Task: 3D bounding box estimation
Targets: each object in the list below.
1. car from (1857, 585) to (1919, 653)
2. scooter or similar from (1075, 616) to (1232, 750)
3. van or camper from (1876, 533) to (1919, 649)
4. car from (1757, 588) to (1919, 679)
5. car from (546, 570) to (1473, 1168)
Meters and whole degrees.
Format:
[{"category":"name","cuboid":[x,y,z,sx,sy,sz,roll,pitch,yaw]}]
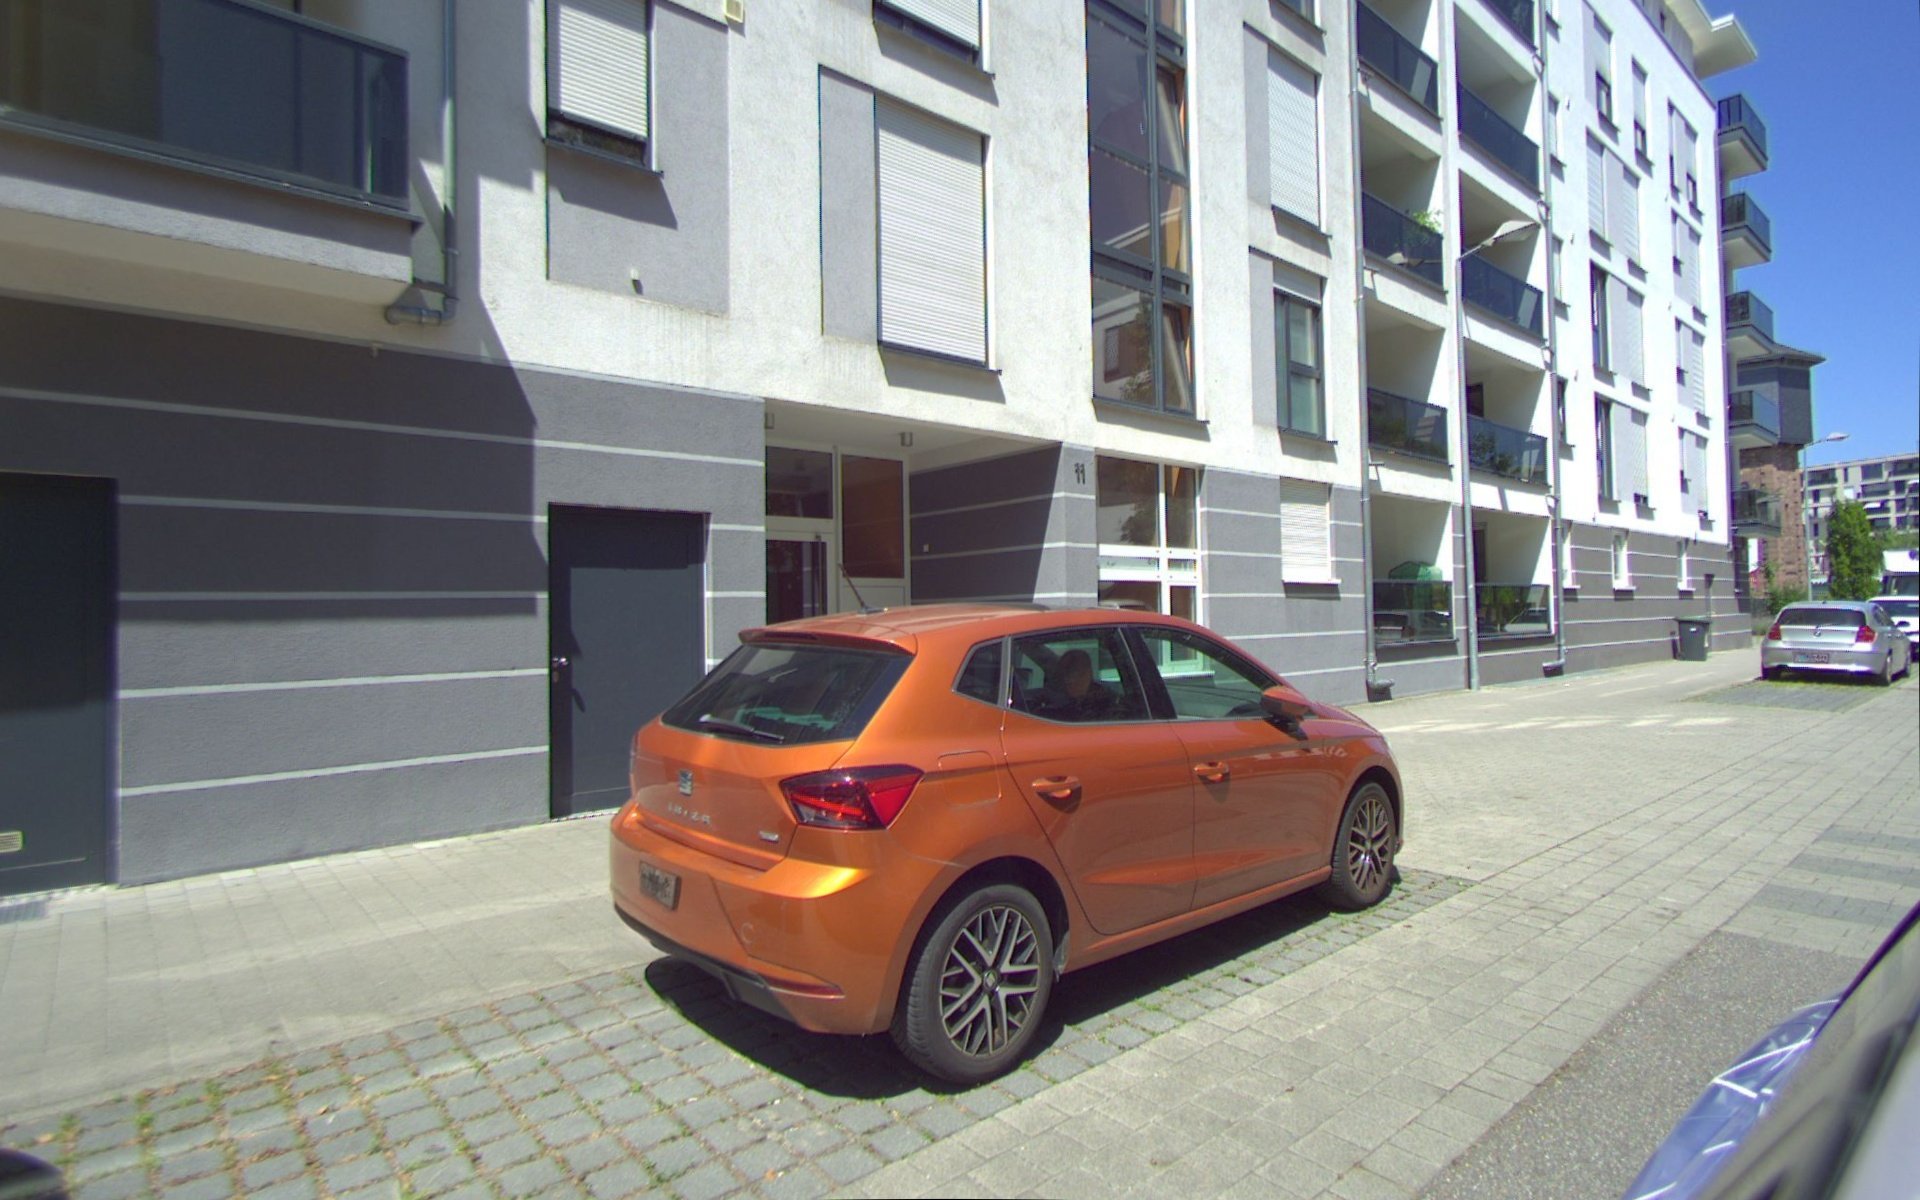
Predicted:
[{"category":"car","cuboid":[22.854,0.407,24.147,4.190,1.524,1.808,-1,0,-43]},{"category":"scooter or similar","cuboid":[1.959,0.803,10.235,1.498,1.241,0.548,-1,-2,-26]},{"category":"van or camper","cuboid":[27.622,-0.320,28.076,7.694,2.943,2.441,-1,-2,-43]},{"category":"car","cuboid":[16.159,0.545,18.350,4.348,1.434,1.848,-1,-1,-41]},{"category":"car","cuboid":[0.552,0.657,4.596,4.184,1.505,1.740,-1,0,-41]}]
